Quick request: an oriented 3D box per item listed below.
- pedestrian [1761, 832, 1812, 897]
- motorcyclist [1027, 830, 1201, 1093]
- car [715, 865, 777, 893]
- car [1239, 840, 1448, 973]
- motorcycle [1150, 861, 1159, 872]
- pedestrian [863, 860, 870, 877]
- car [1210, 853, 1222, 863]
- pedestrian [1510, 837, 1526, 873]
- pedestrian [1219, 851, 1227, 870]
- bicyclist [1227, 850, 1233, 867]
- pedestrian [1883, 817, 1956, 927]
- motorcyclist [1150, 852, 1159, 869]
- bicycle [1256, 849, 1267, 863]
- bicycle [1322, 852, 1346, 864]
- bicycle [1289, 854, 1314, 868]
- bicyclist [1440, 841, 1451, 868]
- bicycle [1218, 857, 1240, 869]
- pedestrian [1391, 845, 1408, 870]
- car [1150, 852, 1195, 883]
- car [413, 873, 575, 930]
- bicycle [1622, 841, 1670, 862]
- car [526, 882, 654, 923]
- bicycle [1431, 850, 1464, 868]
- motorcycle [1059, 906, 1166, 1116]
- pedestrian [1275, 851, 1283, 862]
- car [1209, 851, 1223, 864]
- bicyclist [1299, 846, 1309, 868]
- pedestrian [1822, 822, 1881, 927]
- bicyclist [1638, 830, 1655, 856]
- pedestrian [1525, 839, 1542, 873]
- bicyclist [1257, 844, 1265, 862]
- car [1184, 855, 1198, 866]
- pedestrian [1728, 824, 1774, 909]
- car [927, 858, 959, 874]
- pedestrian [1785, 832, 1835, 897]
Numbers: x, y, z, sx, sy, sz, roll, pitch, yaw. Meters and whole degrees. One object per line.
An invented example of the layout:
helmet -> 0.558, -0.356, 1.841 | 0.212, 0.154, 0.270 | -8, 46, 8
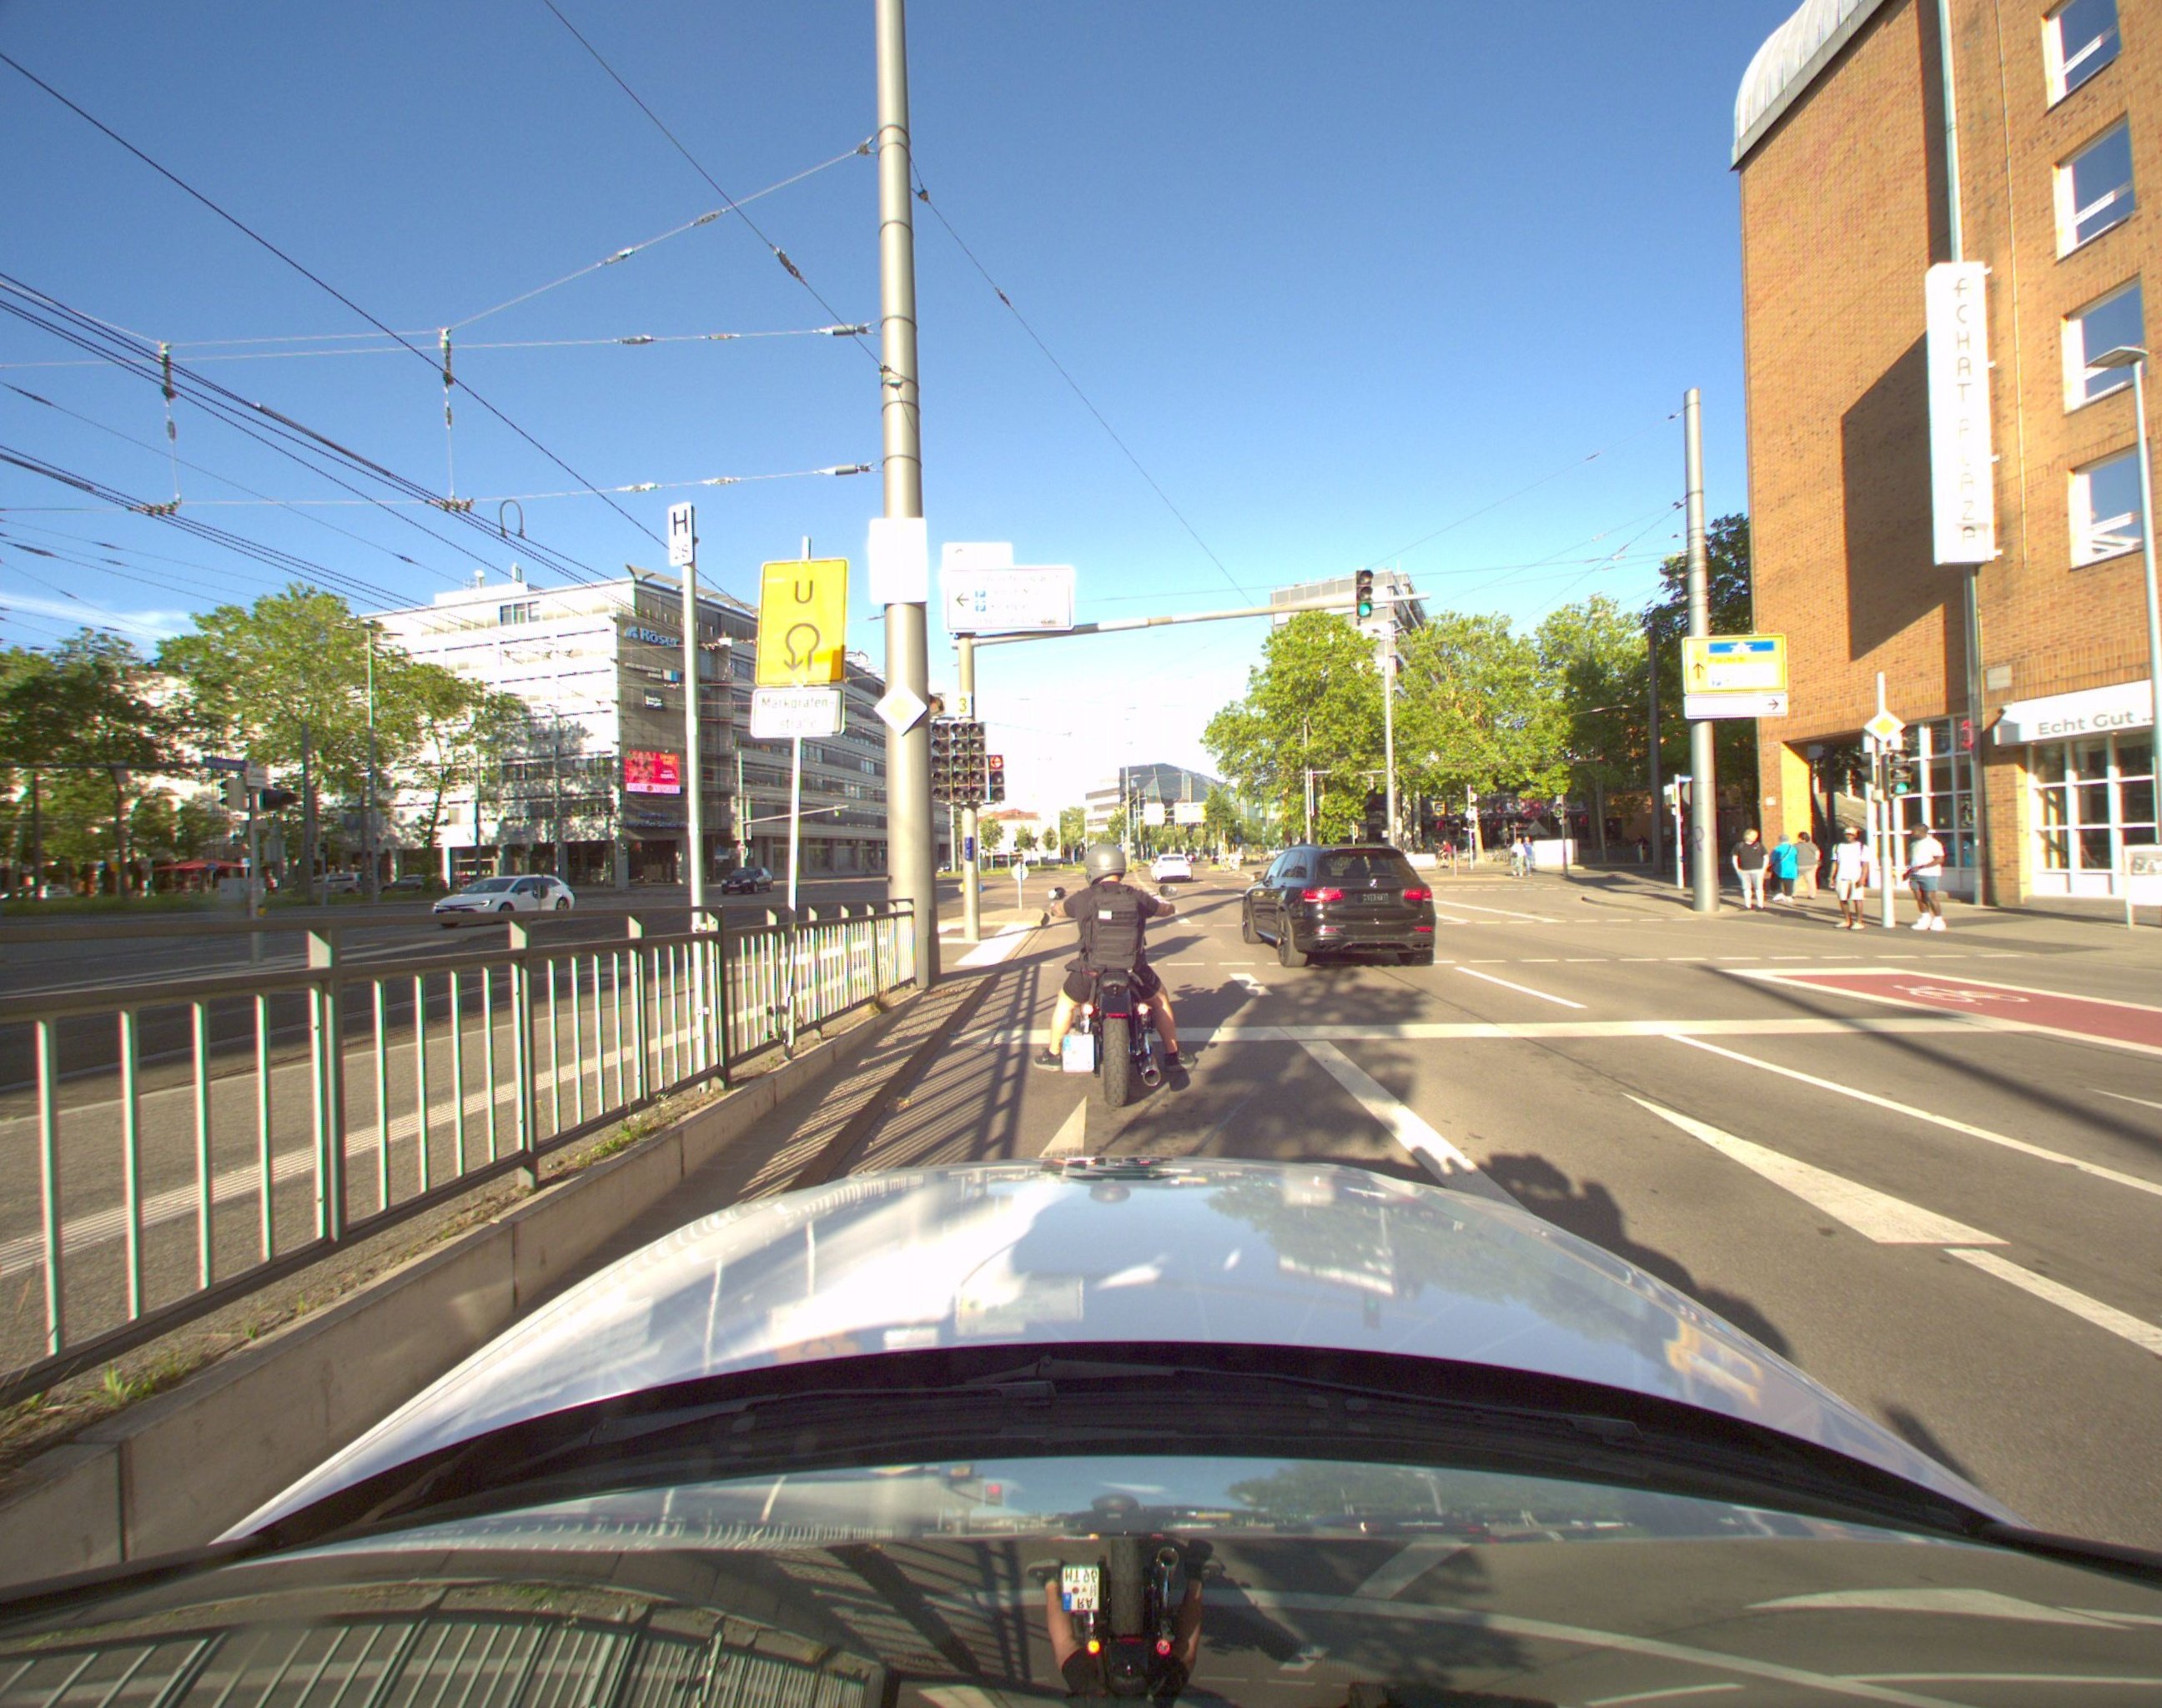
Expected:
pedestrian -> 16.229, 0.246, 18.750 | 0.590, 1.452, 0.601 | -2, -1, 2
motorcyclist -> 0.214, 0.661, 5.441 | 1.027, 1.593, 0.874 | -2, 0, 1
car -> -18.555, 1.351, 45.316 | 1.821, 1.430, 4.237 | 0, -1, -2
car -> 3.604, 0.634, 12.066 | 1.796, 1.595, 4.455 | 0, 0, 2
motorcycle -> 6.960, 1.160, 77.089 | 0.799, 1.050, 2.381 | 0, -1, 8
pedestrian -> -24.509, 1.649, 93.075 | 0.628, 2.014, 0.754 | 0, -1, 2
car -> 24.714, 0.811, 149.097 | 1.717, 1.838, 3.589 | -1, -1, 14
pedestrian -> 19.097, 0.050, 35.598 | 0.561, 1.533, 0.706 | -1, -1, 22
pedestrian -> 11.958, 0.540, 68.667 | 0.587, 1.557, 0.488 | 0, -1, -6
bicyclist -> 12.254, 0.394, 66.951 | 0.380, 1.373, 0.344 | 0, -1, -7
pedestrian -> 14.101, 0.296, 13.708 | 0.682, 1.780, 0.589 | -2, -1, -24
motorcyclist -> 6.911, 0.633, 76.877 | 0.792, 1.580, 0.530 | 0, -1, 8
bicycle -> 18.392, 0.246, 83.049 | 0.722, 1.367, 2.922 | 0, -1, 6
bicycle -> 21.488, 0.352, 69.149 | 1.874, 1.046, 0.360 | 0, 0, 1
bicycle -> 17.594, 0.565, 64.963 | 1.854, 1.044, 0.540 | -1, -1, 20
bicyclist -> 25.124, 0.042, 56.151 | 0.582, 1.837, 0.403 | 0, -1, 1
bicycle -> 12.161, 0.755, 66.938 | 1.823, 0.925, 0.357 | 0, -1, -7
pedestrian -> 21.844, 0.236, 55.857 | 0.829, 1.704, 0.760 | 0, -1, 2
car -> 4.642, 0.651, 41.756 | 1.797, 1.430, 4.453 | -2, 0, 1
car -> -17.897, 1.390, 25.141 | 1.821, 1.430, 4.526 | -2, 0, -2
bicycle -> 33.665, -0.138, 48.546 | 2.310, 1.178, 0.569 | 0, -1, 6
car -> -13.856, 1.357, 23.126 | 2.884, 1.063, 1.235 | 0, -1, -19
bicycle -> 25.253, 0.350, 56.137 | 2.034, 1.214, 0.421 | 0, -1, 2
motorcycle -> 0.213, 0.960, 5.726 | 0.598, 1.036, 2.235 | 0, 0, 2
pedestrian -> 21.961, 0.282, 90.286 | 0.814, 1.314, 0.640 | -1, -1, 11
car -> 19.602, 0.501, 118.096 | 1.719, 1.732, 4.629 | 0, 0, 14
bicyclist -> 17.783, 0.243, 64.904 | 0.682, 1.673, 0.544 | -2, -2, 21
pedestrian -> 13.616, 0.354, 14.408 | 0.586, 1.780, 0.686 | -5, 0, 38
bicyclist -> 33.737, -0.629, 48.552 | 0.628, 1.519, 0.568 | 0, -1, 7
pedestrian -> 19.740, 0.087, 35.530 | 0.561, 1.479, 0.706 | -1, -1, 22
bicyclist -> 18.351, -0.099, 82.871 | 0.693, 1.808, 0.730 | 0, -1, 6
car -> 17.495, 1.002, 129.634 | 1.790, 1.678, 4.055 | 0, -1, 14
pedestrian -> 14.556, 0.272, 17.685 | 0.727, 1.792, 0.515 | -1, -1, 42
car -> -13.794, 1.196, 81.534 | 1.737, 1.524, 4.014 | -1, -1, 13
pedestrian -> 16.885, 0.246, 18.873 | 0.590, 1.476, 0.552 | -2, -1, 2
